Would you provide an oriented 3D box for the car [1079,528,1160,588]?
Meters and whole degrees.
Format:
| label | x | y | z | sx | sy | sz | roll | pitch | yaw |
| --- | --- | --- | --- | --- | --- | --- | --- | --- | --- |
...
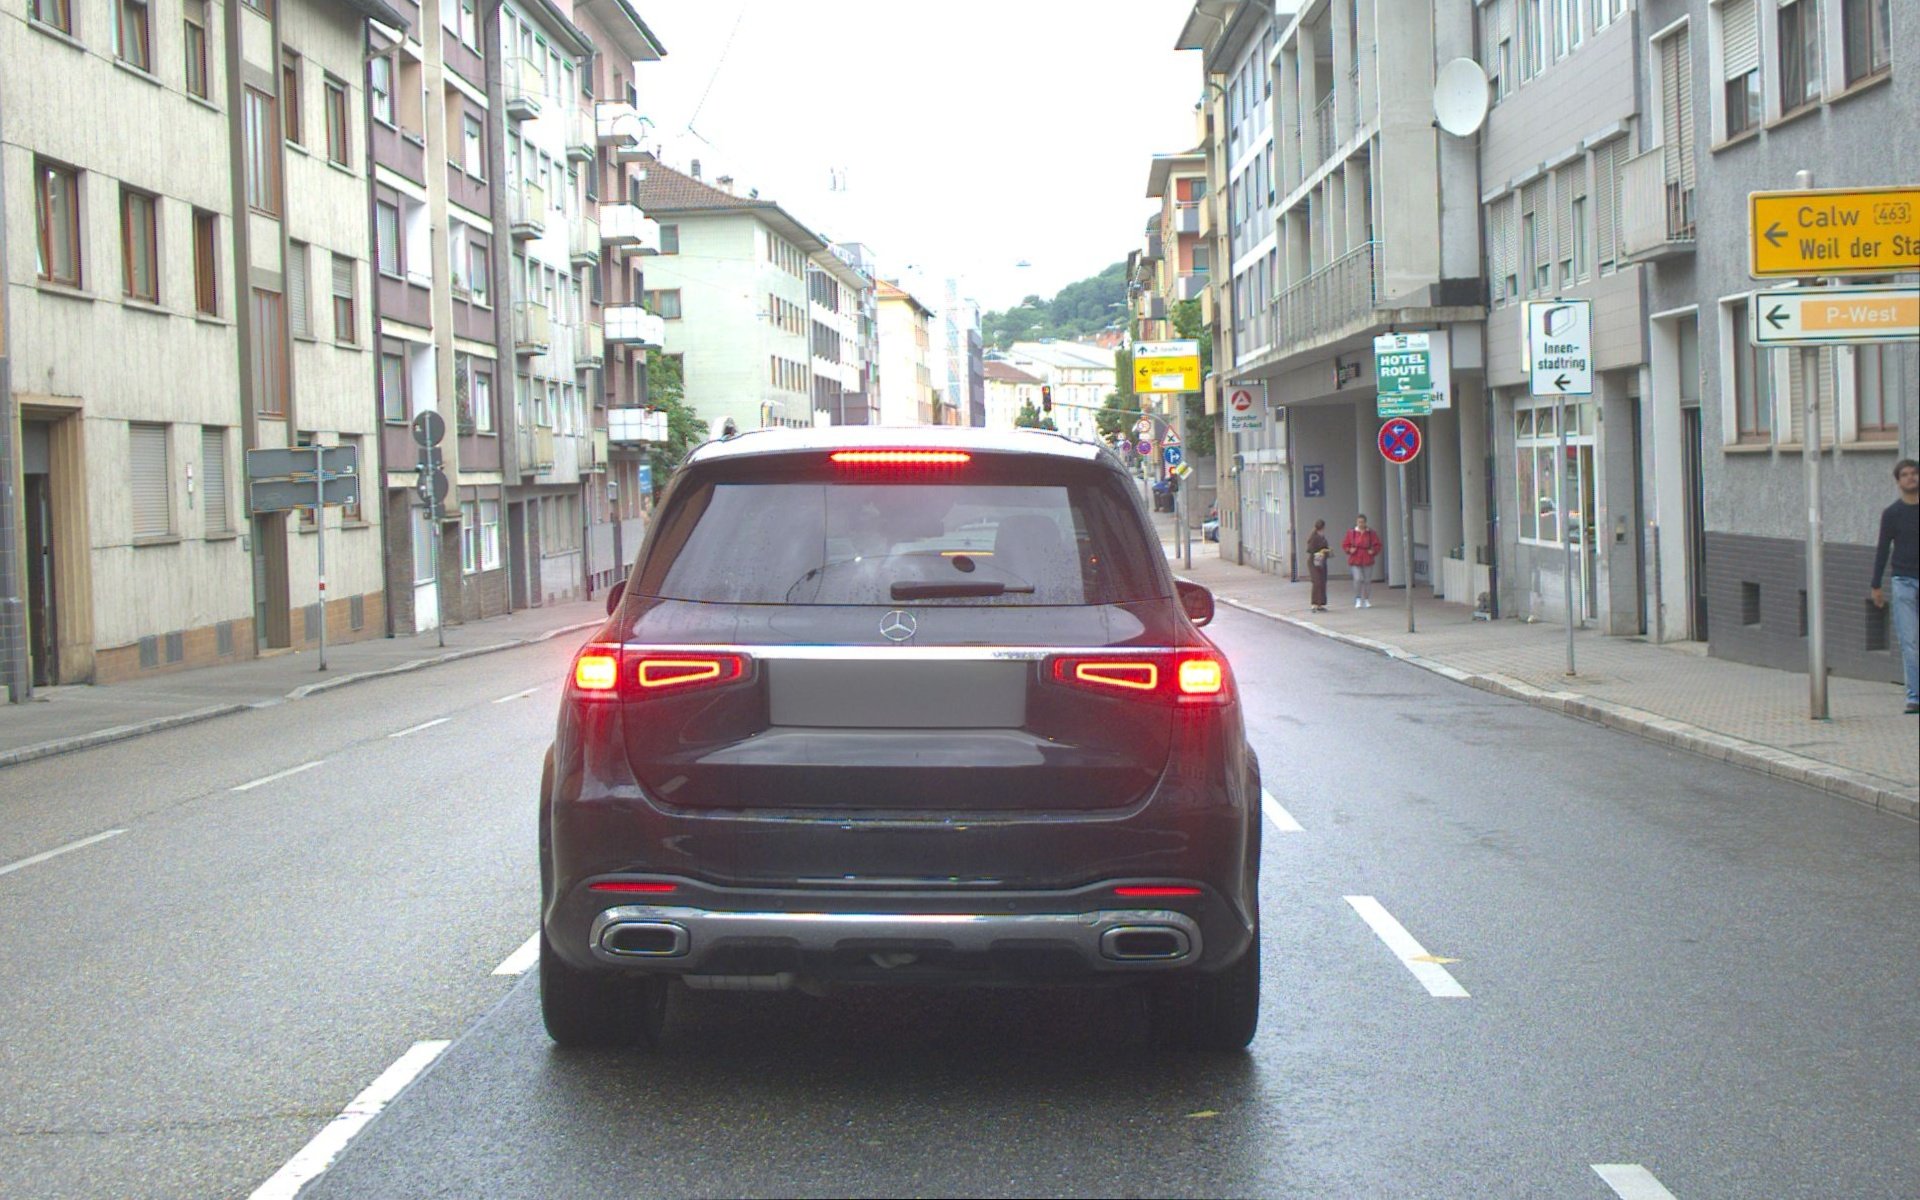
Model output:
| label | x | y | z | sx | sy | sz | roll | pitch | yaw |
| --- | --- | --- | --- | --- | --- | --- | --- | --- | --- |
| car | 3.904 | -1.062 | 84.768 | 1.734 | 1.383 | 4.583 | 0 | 2 | -1 |

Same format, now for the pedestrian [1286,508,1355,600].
| label | x | y | z | sx | sy | sz | roll | pitch | yaw |
| --- | --- | --- | --- | --- | --- | --- | --- | --- | --- |
| pedestrian | 6.159 | -0.791 | 58.726 | 0.821 | 1.560 | 0.900 | -1 | 2 | -26 |

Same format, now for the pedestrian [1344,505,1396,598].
| label | x | y | z | sx | sy | sz | roll | pitch | yaw |
| --- | --- | --- | --- | --- | --- | --- | --- | --- | --- |
| pedestrian | 6.998 | -0.833 | 58.633 | 0.821 | 1.560 | 0.899 | 0 | 2 | 3 |

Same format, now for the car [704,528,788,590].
| label | x | y | z | sx | sy | sz | roll | pitch | yaw |
| --- | --- | --- | --- | --- | --- | --- | --- | --- | --- |
| car | -5.284 | -1.035 | 85.439 | 1.891 | 1.453 | 4.550 | 0 | 2 | -1 |

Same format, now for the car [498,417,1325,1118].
| label | x | y | z | sx | sy | sz | roll | pitch | yaw |
| --- | --- | --- | --- | --- | --- | --- | --- | --- | --- |
| car | -0.147 | 0.345 | 10.991 | 2.076 | 1.759 | 4.612 | 0 | 2 | -1 |

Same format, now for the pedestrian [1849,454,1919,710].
| label | x | y | z | sx | sy | sz | roll | pitch | yaw |
| --- | --- | --- | --- | --- | --- | --- | --- | --- | --- |
| pedestrian | 6.671 | -0.145 | 24.066 | 0.655 | 1.746 | 0.741 | -4 | 1 | 6 |

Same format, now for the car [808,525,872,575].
| label | x | y | z | sx | sy | sz | roll | pitch | yaw |
| --- | --- | --- | --- | --- | --- | --- | --- | --- | --- |
| car | -3.719 | -1.573 | 106.997 | 1.891 | 1.453 | 4.550 | 0 | 2 | -1 |

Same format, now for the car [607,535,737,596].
| label | x | y | z | sx | sy | sz | roll | pitch | yaw |
| --- | --- | --- | --- | --- | --- | --- | --- | --- | --- |
| car | -9.807 | -1.185 | 117.167 | 3.989 | 2.006 | 1.999 | 0 | 2 | 12 |
